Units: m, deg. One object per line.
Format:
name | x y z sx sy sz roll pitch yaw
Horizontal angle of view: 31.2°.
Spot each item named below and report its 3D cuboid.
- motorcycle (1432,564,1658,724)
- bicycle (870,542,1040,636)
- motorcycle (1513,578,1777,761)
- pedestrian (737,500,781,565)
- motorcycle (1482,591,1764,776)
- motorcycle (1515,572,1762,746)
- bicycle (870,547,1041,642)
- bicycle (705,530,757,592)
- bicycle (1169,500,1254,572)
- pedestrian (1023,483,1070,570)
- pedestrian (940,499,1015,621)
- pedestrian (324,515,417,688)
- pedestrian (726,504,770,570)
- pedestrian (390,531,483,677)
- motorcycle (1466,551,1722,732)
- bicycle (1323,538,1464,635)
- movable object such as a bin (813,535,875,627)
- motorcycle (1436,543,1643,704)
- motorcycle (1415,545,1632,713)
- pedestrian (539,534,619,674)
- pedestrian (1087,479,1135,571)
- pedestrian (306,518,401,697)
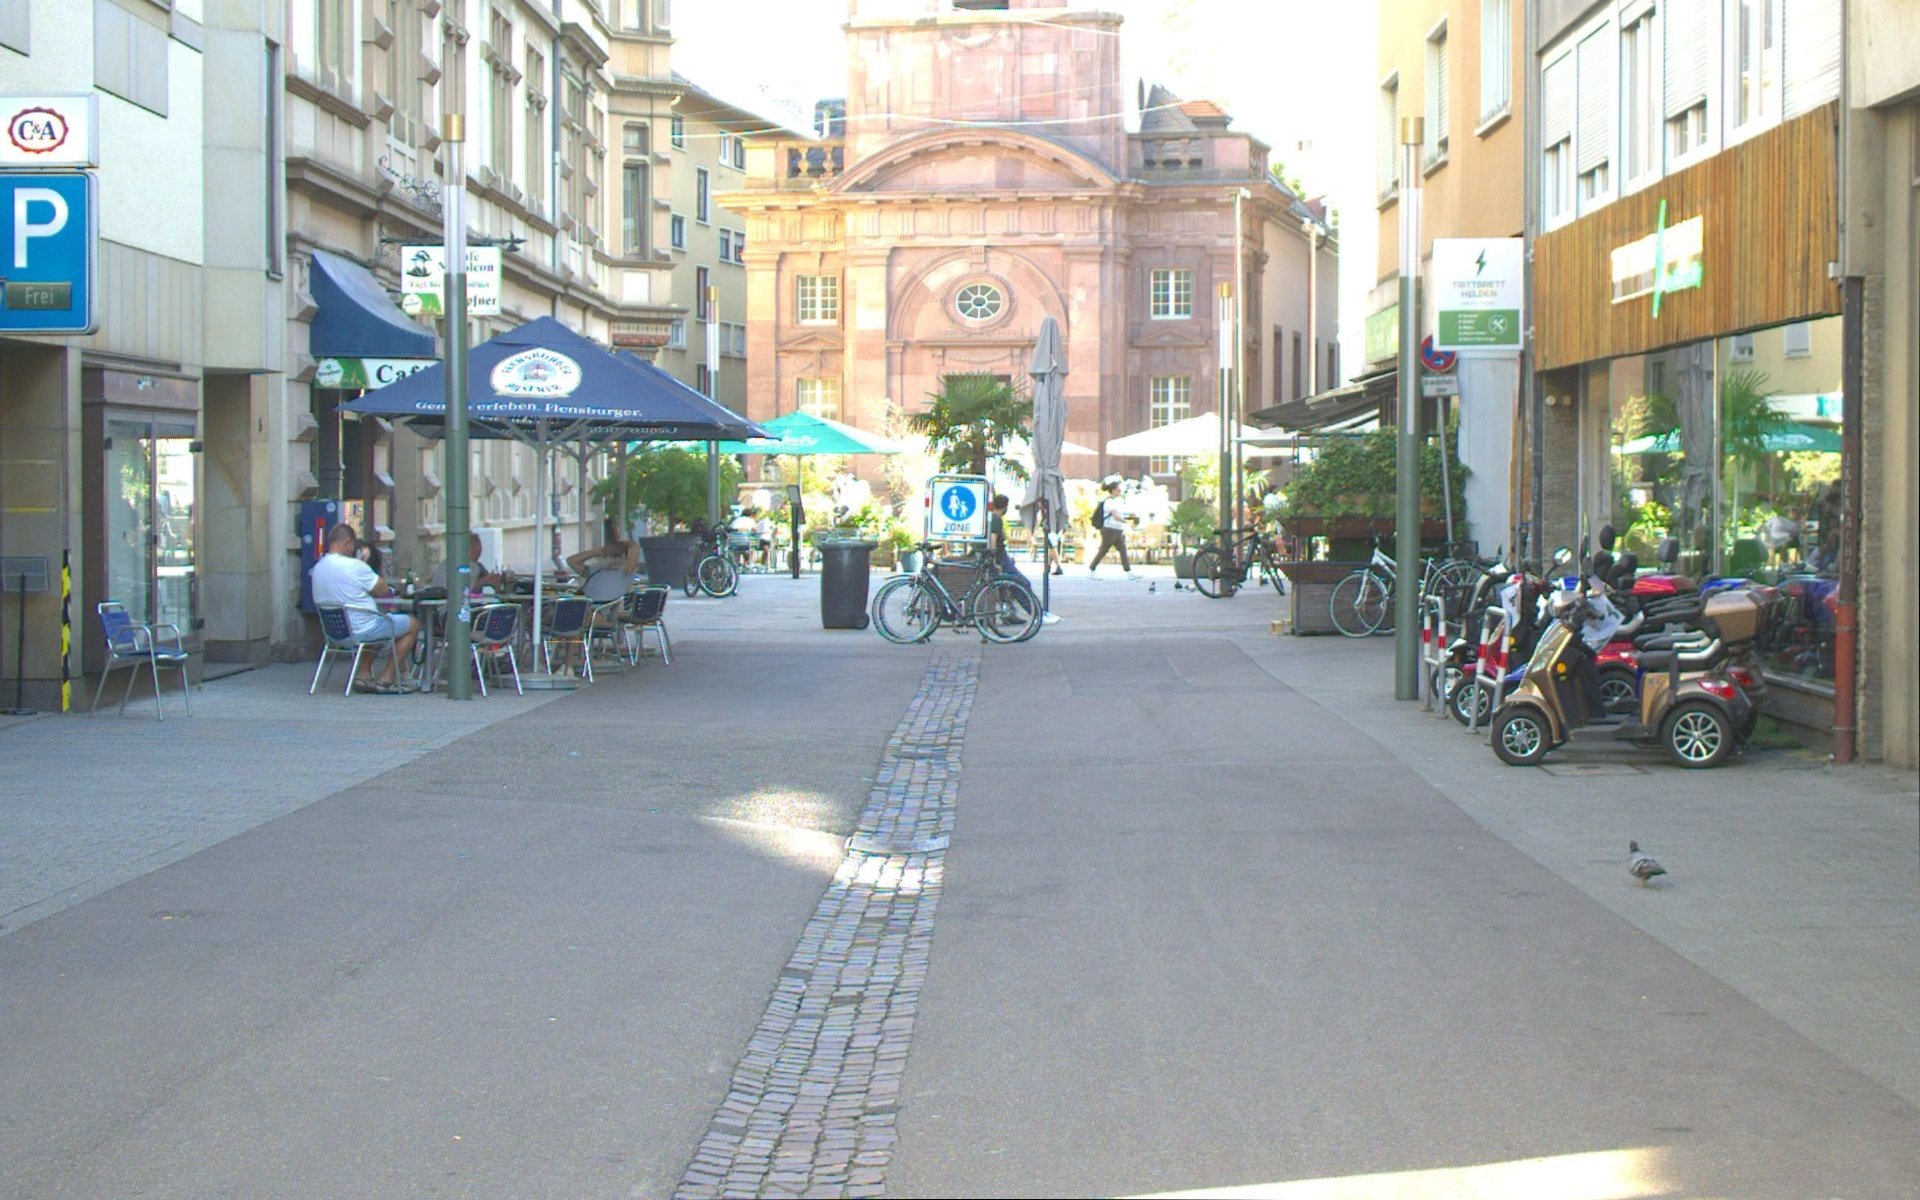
motorcycle | 4.022 0.296 23.650 1.485 1.072 0.412 0 1 19
bicycle | -0.058 -0.123 37.361 1.823 1.001 0.381 0 2 -2
motorcycle | 4.119 0.407 20.684 1.518 1.072 0.412 0 1 19
pedestrian | -3.795 -1.276 64.947 0.700 1.213 0.719 0 2 7
motorcycle | 3.840 0.474 19.928 1.565 1.038 0.372 0 1 19
motorcycle | 4.276 0.361 21.672 1.485 1.072 0.412 0 1 19
bicycle | -0.052 -0.062 36.967 1.823 1.001 0.381 0 2 -2
bicycle | -3.280 -0.563 49.405 0.456 0.847 2.146 0 2 4
bicycle | 4.597 -1.173 62.705 1.586 1.303 0.366 -1 2 -28
pedestrian | 1.651 -1.400 65.467 0.611 1.635 0.657 -1 2 -43
pedestrian | 0.219 -0.492 41.506 0.884 1.459 0.731 0 2 2
pedestrian | -4.750 0.003 27.673 0.717 1.363 0.710 0 2 -11
pedestrian | -3.921 -1.172 63.521 0.700 1.213 0.719 0 2 7
pedestrian | -4.496 0.025 29.551 0.765 1.229 0.831 0 2 -7
motorcycle | 4.218 0.268 22.874 1.626 1.171 0.480 0 1 19
bicycle | 4.614 -0.149 36.578 1.464 1.001 0.573 0 2 8
movable object such as a bin | -1.358 -0.227 40.293 0.721 1.071 0.374 0 2 0
motorcycle | 4.317 0.170 25.598 1.485 1.177 0.412 0 1 16
motorcycle | 4.021 0.201 24.523 1.485 1.177 0.412 0 1 16
pedestrian | -3.356 0.031 30.288 0.692 1.211 0.583 0 2 -7
pedestrian | 2.566 -1.282 58.342 0.784 1.550 0.535 0 2 6
pedestrian | -4.722 0.048 26.748 0.708 1.363 0.720 0 2 -11
